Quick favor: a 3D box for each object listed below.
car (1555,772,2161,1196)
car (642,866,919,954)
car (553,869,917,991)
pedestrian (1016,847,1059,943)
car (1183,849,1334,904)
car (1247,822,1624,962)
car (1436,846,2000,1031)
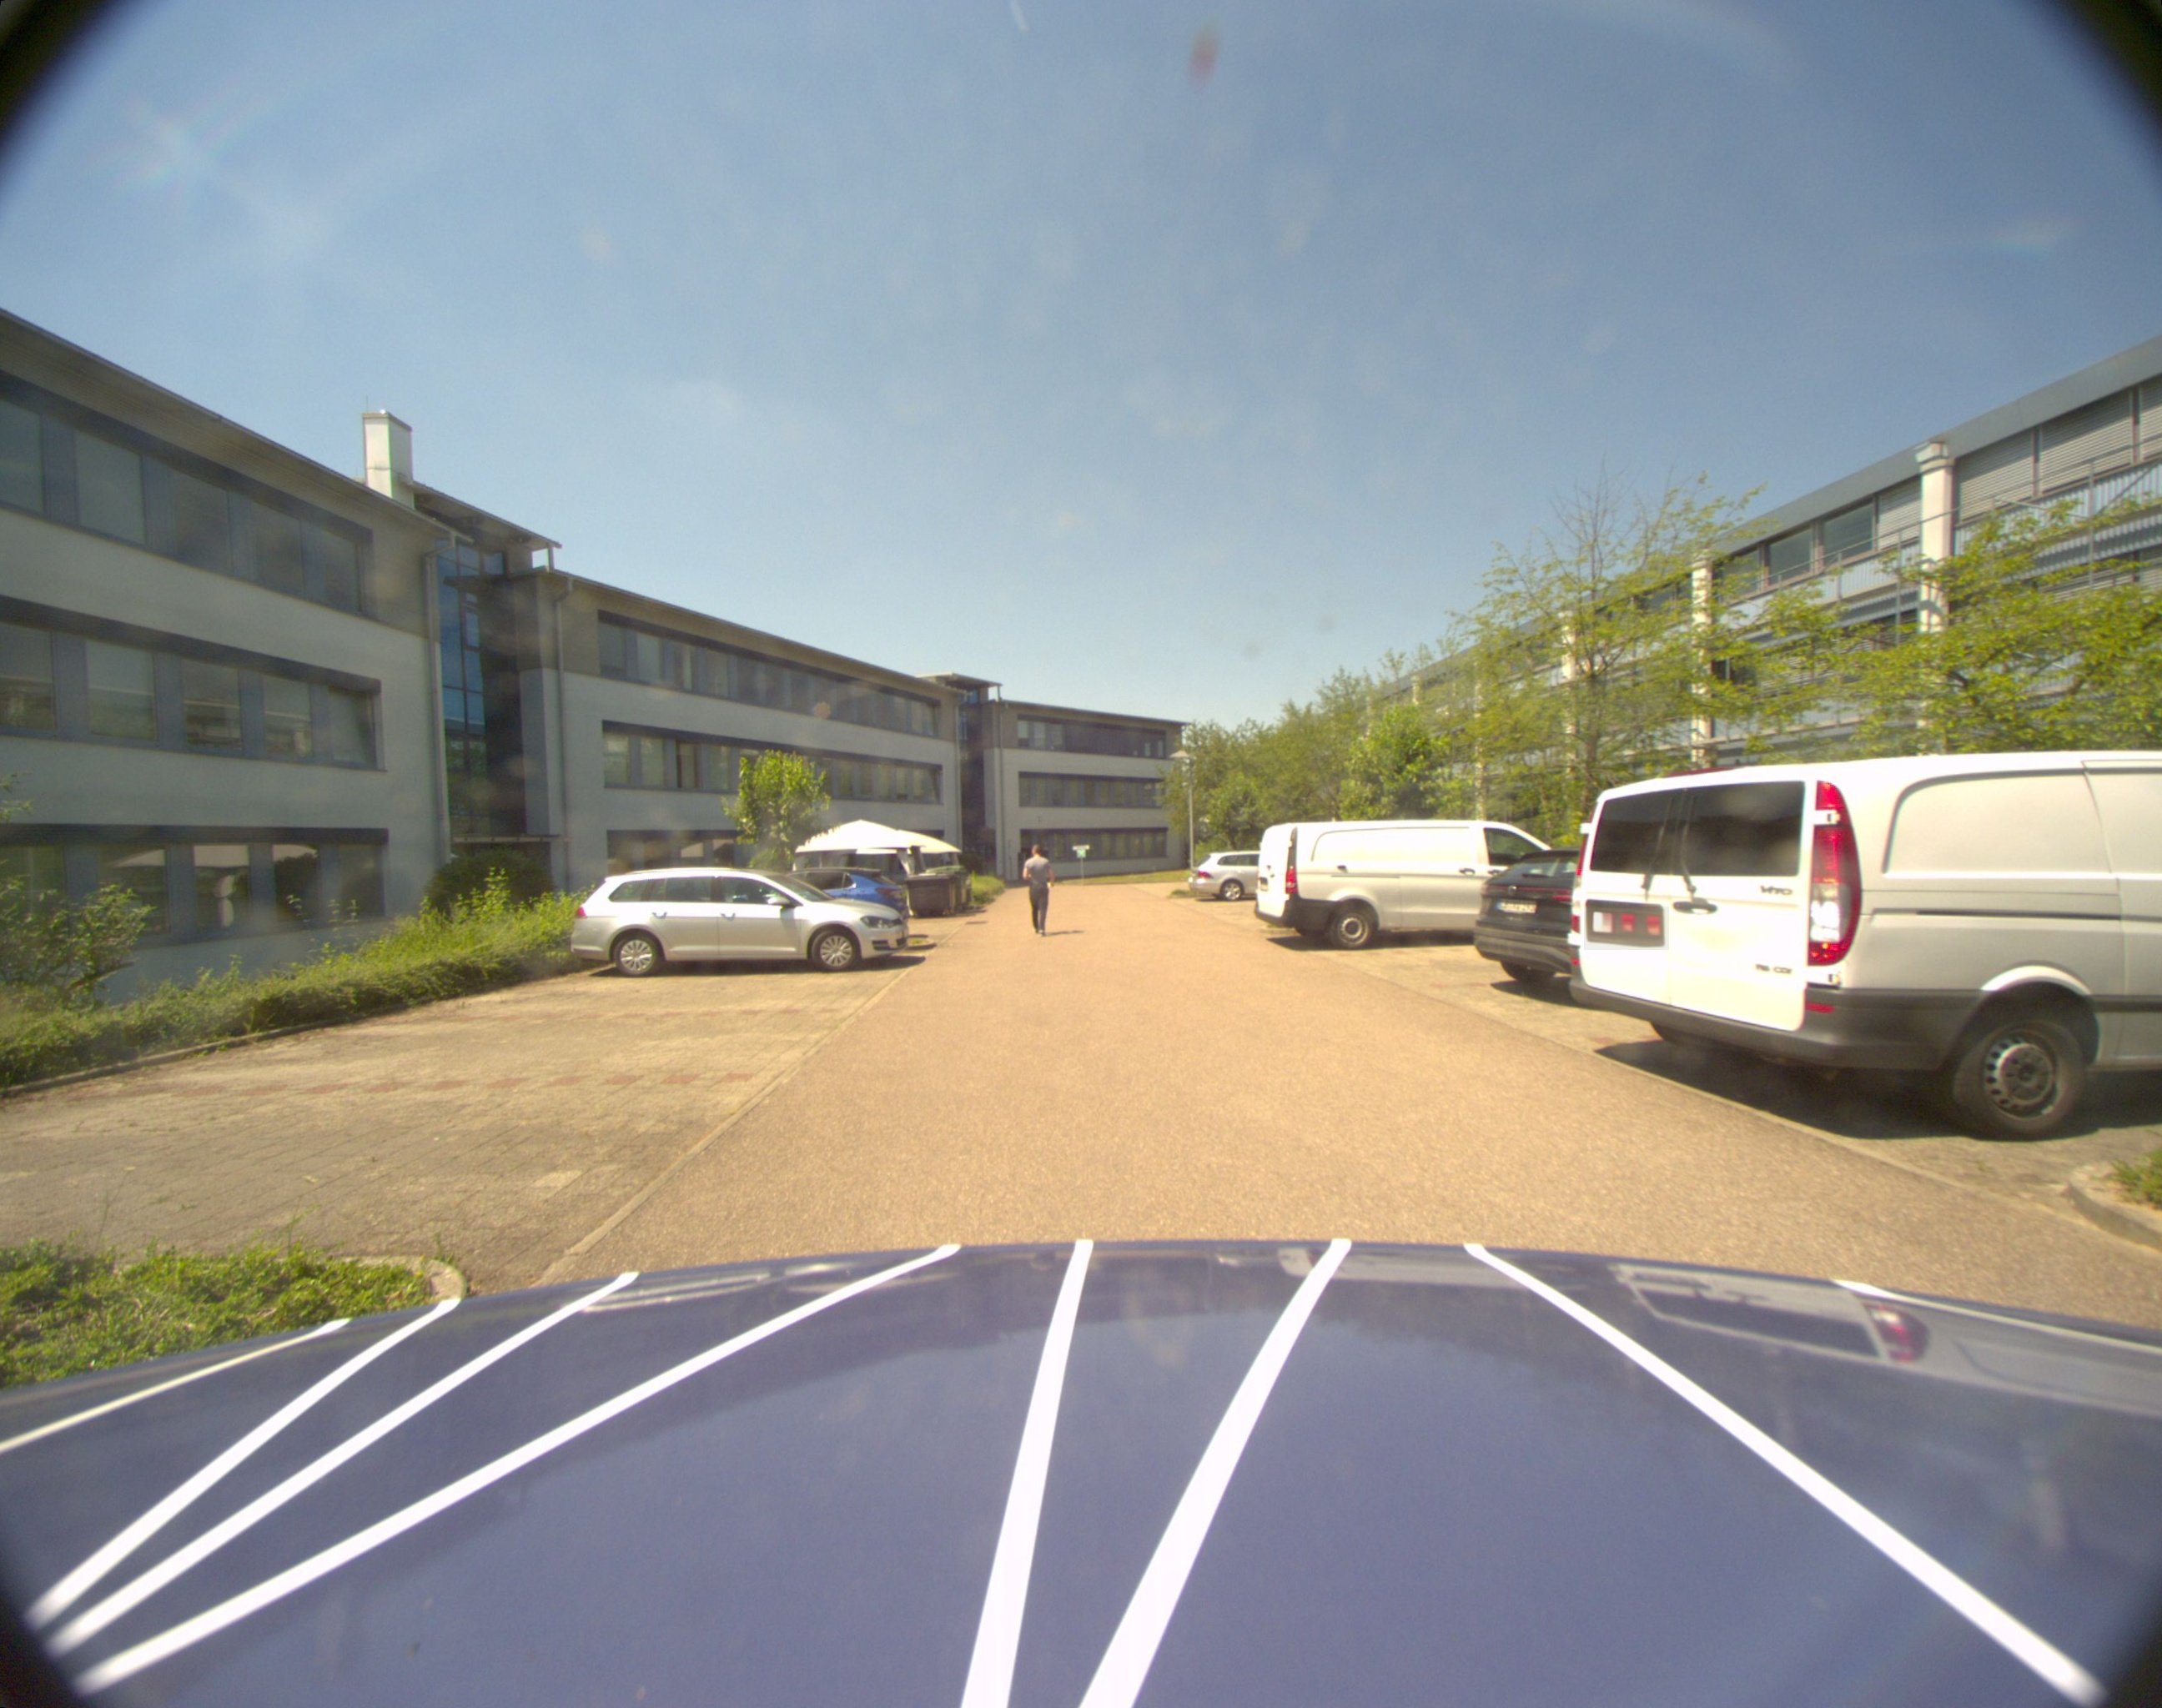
[{"bbox_3d":[5.659,0.534,4.437,4.675,1.849,1.868,-1,0,-3],"label":"car"},{"bbox_3d":[-5.626,1.021,14.719,4.610,1.485,1.856,-1,0,-3],"label":"car"},{"bbox_3d":[-4.787,1.025,11.079,4.425,1.511,1.856,-1,0,-3],"label":"car"},{"bbox_3d":[-0.824,0.760,14.535,0.698,1.747,0.776,-2,1,0],"label":"pedestrian"},{"bbox_3d":[5.228,0.643,22.717,4.082,1.475,1.739,-1,0,0],"label":"car"},{"bbox_3d":[5.240,0.530,11.692,4.932,1.845,1.856,-2,0,-1],"label":"car"},{"bbox_3d":[5.997,0.719,7.473,4.196,1.475,1.739,-1,0,-3],"label":"car"}]
